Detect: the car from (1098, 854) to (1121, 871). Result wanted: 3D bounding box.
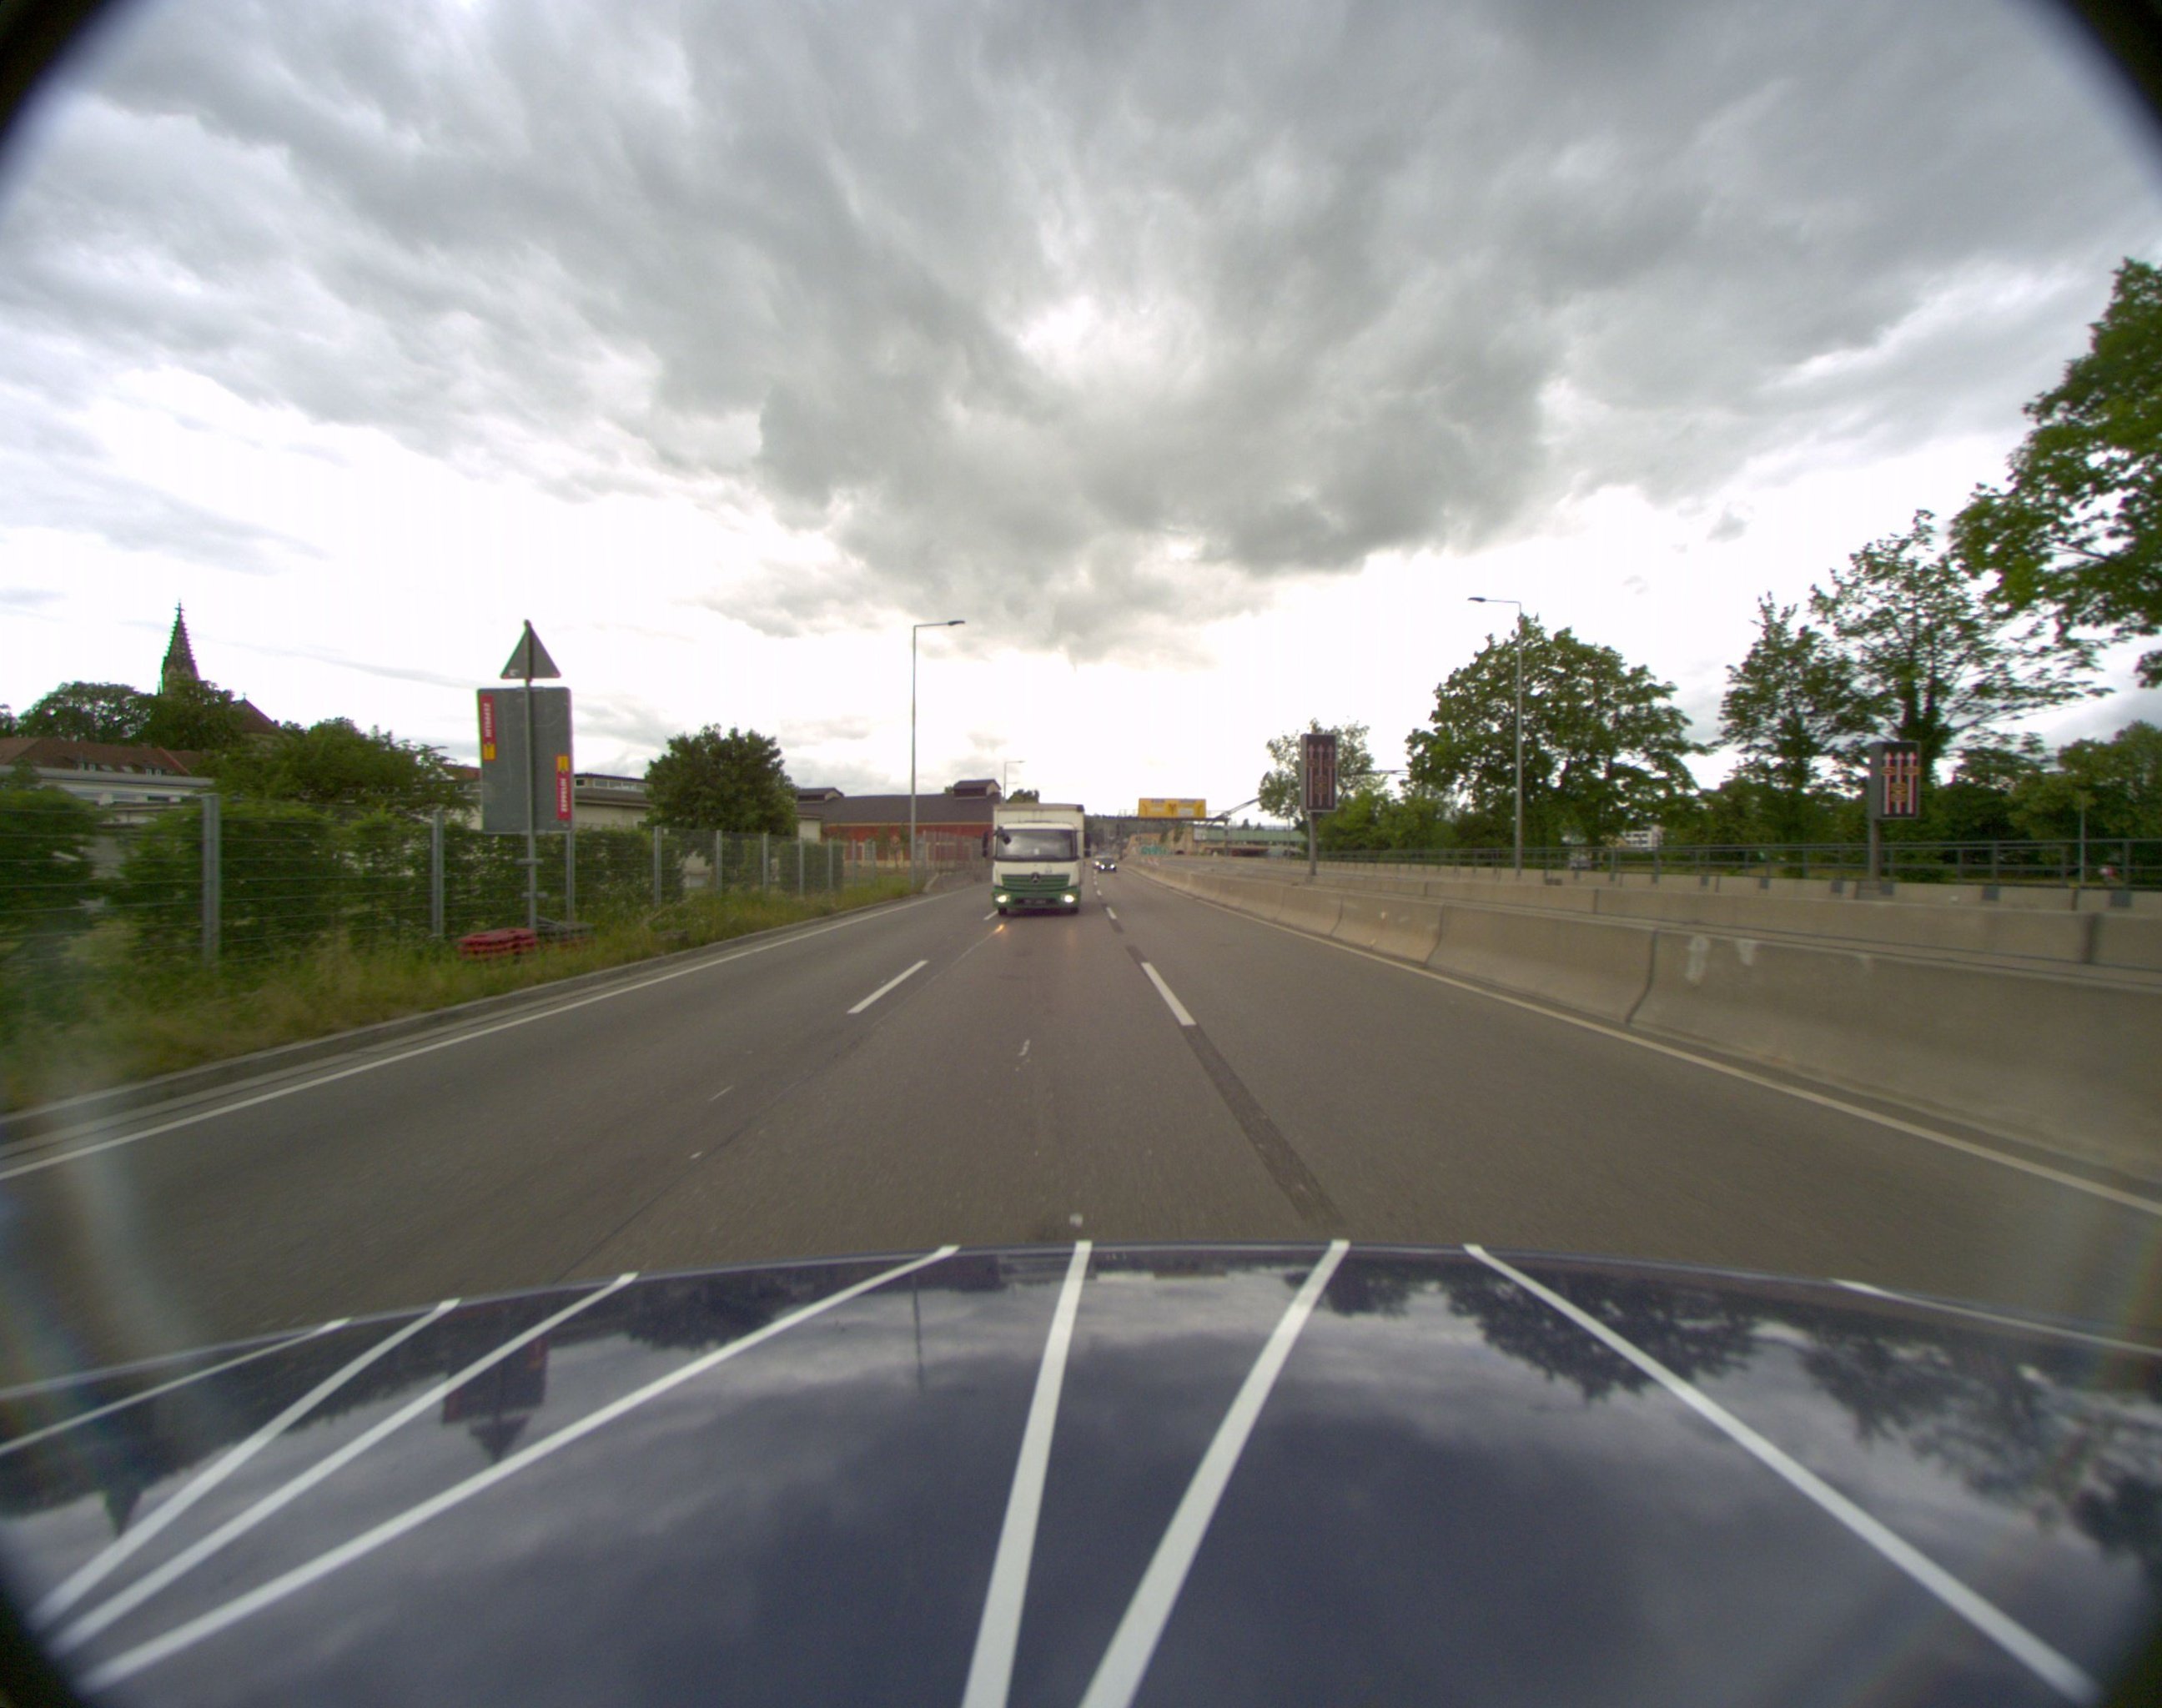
[{"bbox_3d":[2.662,0.768,71.483,1.999,1.444,3.999,-2,1,0],"label":"car"}]

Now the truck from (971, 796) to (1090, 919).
[{"bbox_3d":[-1.295,0.053,23.713,2.943,3.065,8.386,-2,1,0],"label":"truck"}]

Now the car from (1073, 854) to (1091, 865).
[{"bbox_3d":[0.128,0.768,109.449,2.000,1.444,3.996,-2,1,-9],"label":"car"}]
